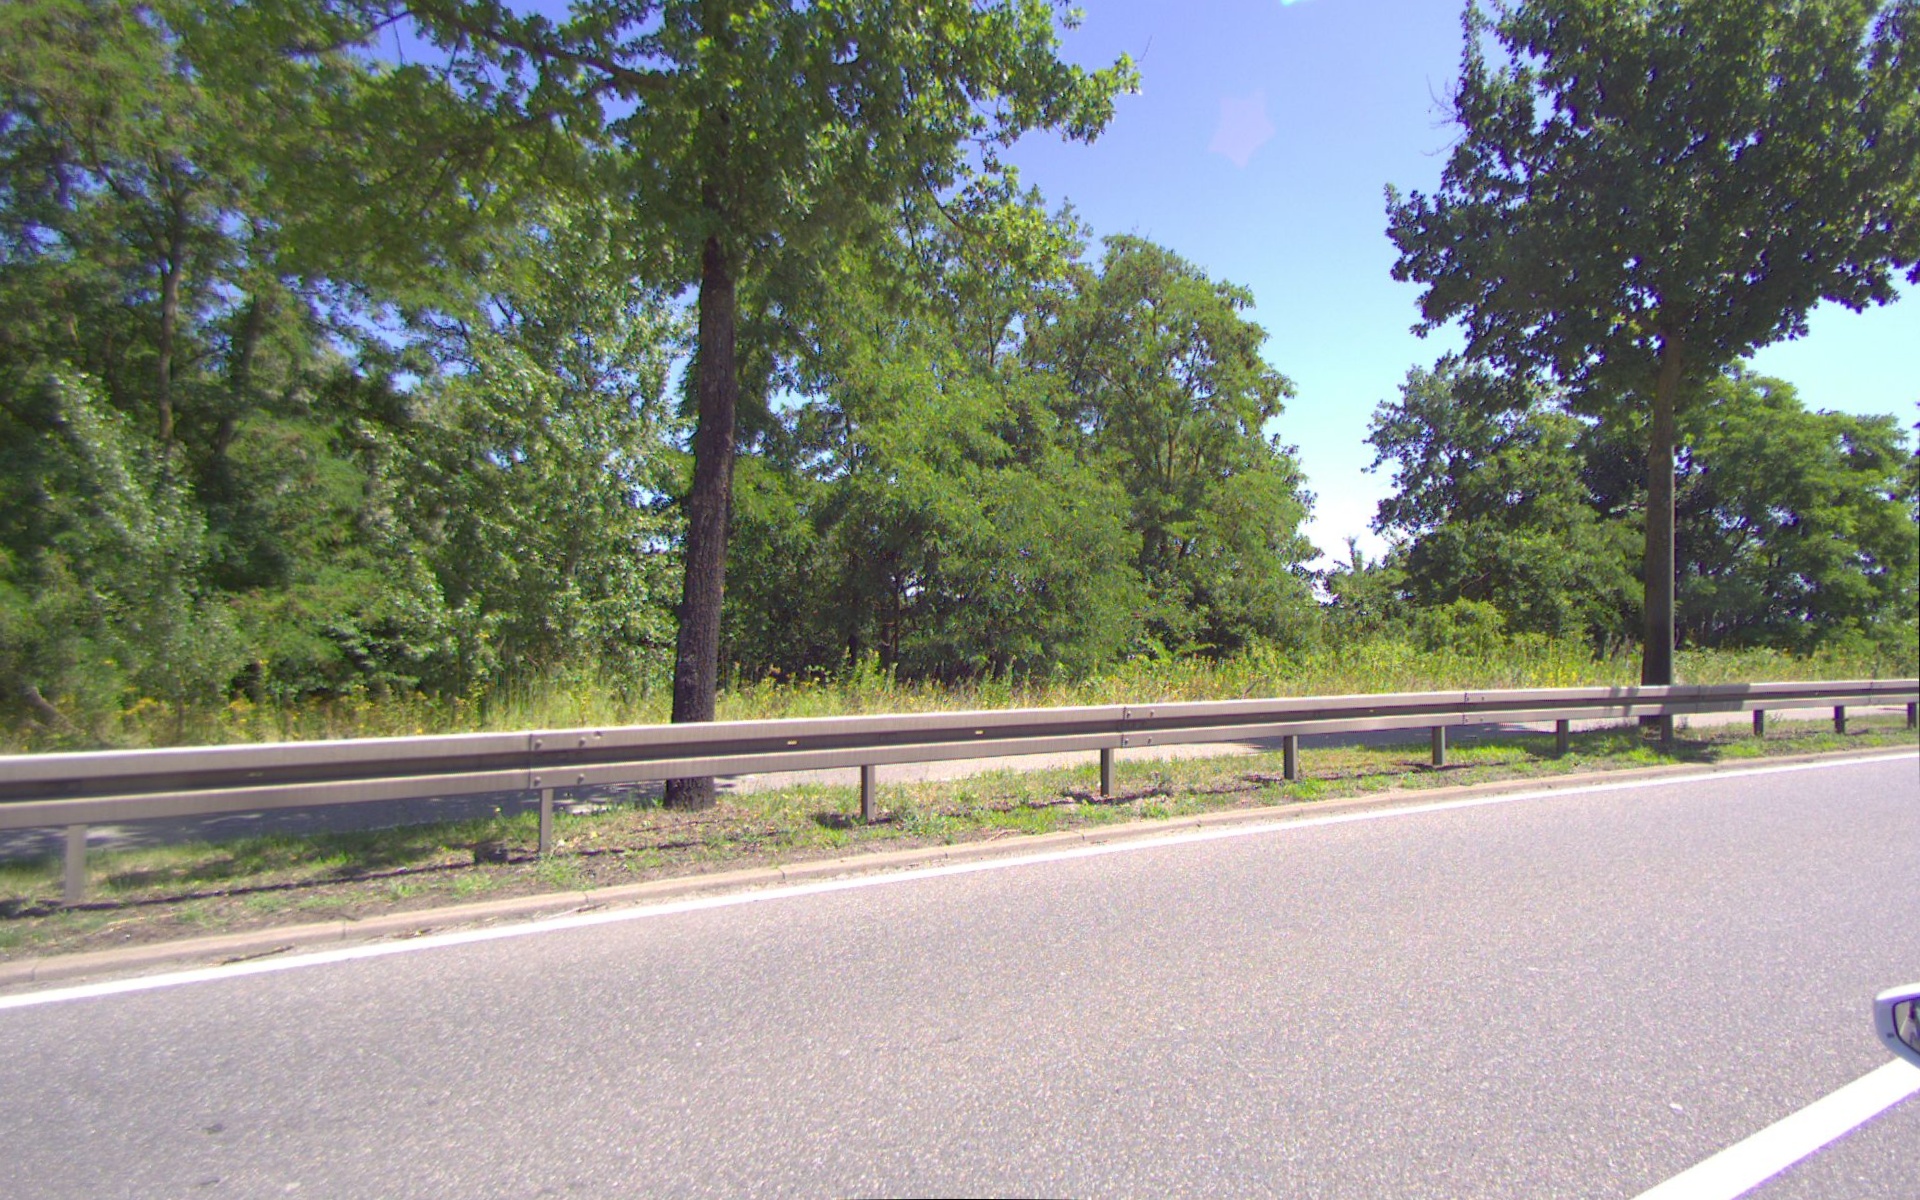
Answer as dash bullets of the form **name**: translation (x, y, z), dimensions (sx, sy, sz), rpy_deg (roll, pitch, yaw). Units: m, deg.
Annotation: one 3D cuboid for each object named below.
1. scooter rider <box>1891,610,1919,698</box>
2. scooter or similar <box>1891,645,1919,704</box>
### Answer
- **scooter rider**: translation (18.862, 1.055, 19.458), dimensions (1.103, 1.679, 0.776), rpy_deg (2, 0, -20)
- **scooter or similar**: translation (18.821, 1.447, 19.441), dimensions (1.079, 1.105, 0.775), rpy_deg (2, 0, -21)
